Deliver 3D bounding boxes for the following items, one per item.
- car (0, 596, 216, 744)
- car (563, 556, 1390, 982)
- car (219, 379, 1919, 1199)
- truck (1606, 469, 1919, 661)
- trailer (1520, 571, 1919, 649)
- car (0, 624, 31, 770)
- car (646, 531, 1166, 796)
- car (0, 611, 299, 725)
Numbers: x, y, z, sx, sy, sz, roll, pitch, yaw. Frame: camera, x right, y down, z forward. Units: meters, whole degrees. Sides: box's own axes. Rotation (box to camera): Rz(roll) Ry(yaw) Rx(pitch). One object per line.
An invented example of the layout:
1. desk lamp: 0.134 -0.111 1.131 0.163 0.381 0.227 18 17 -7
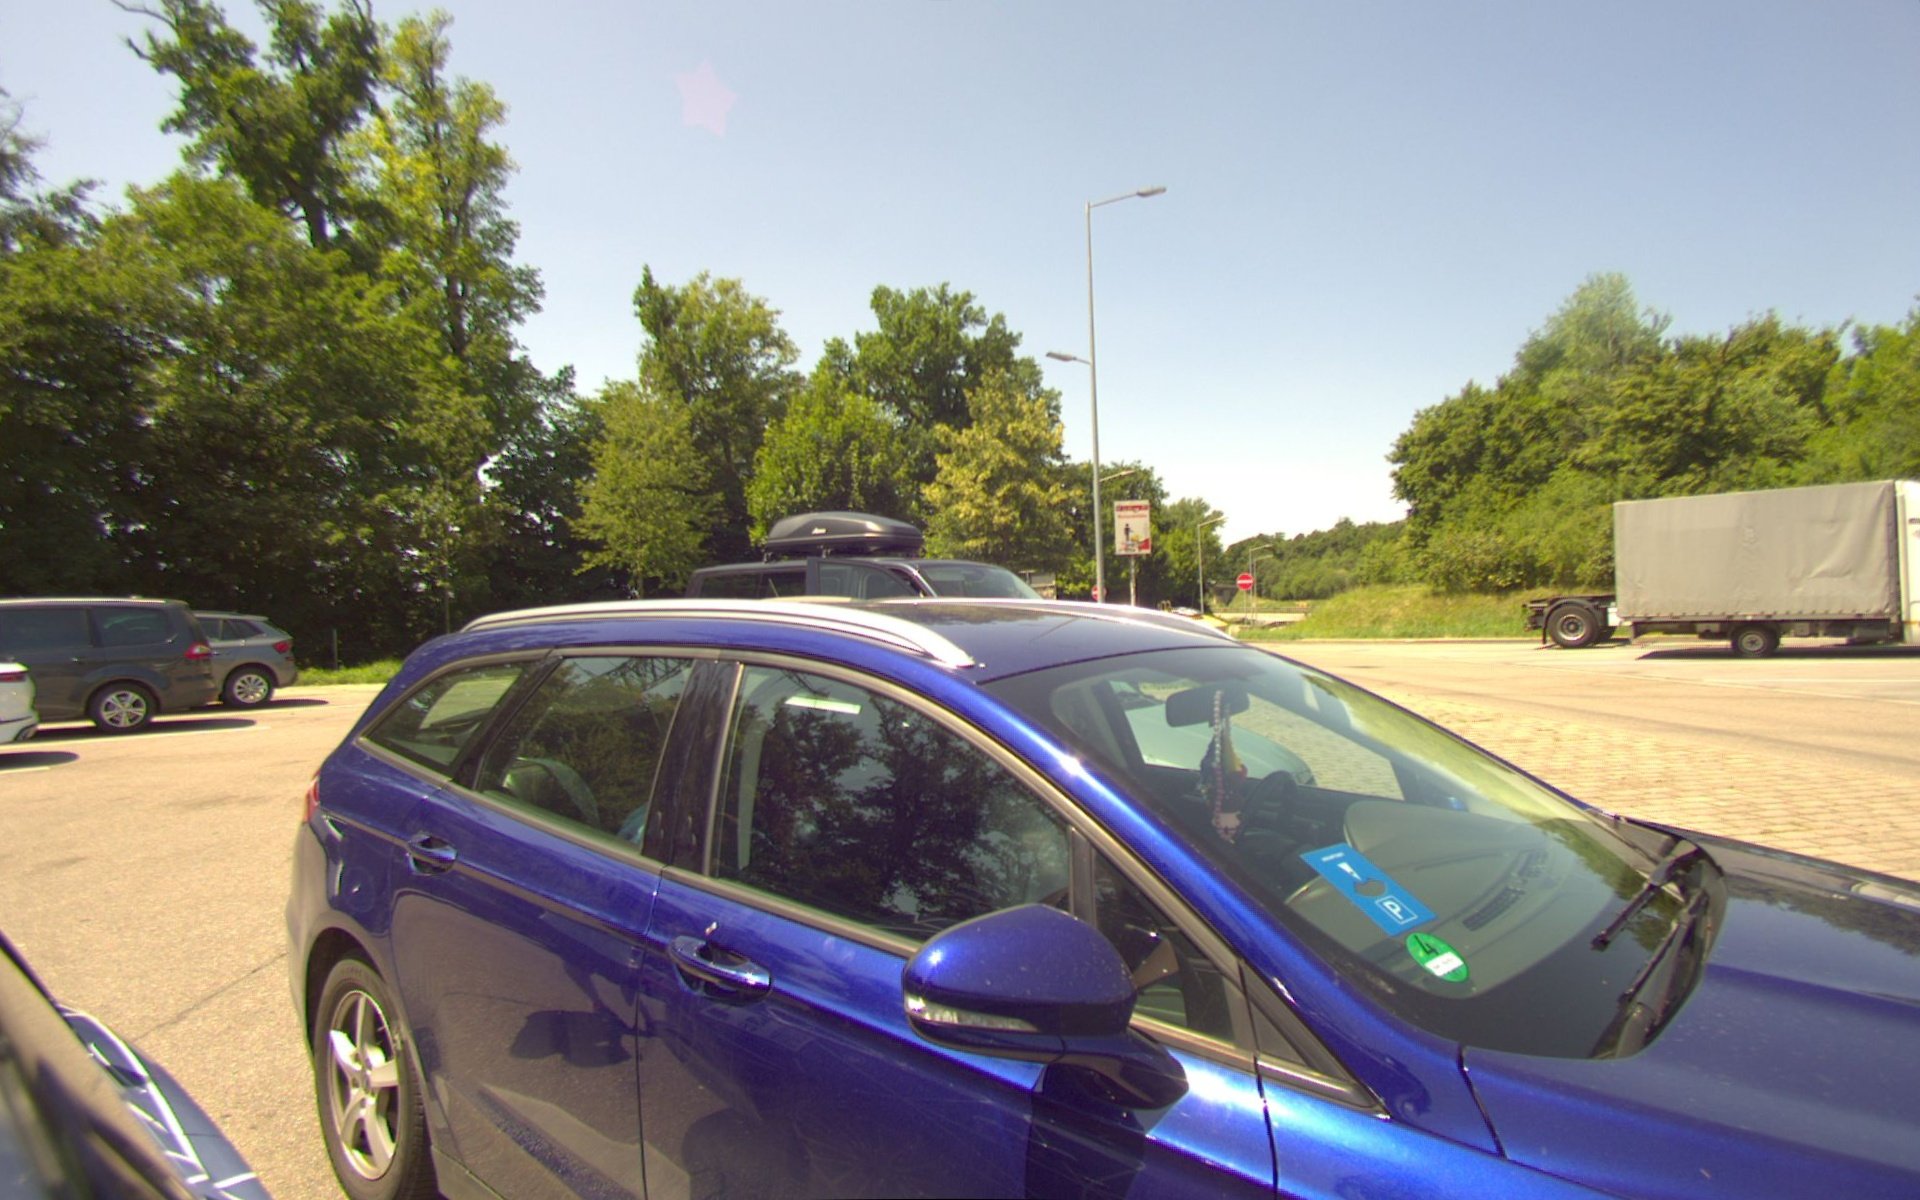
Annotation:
1. car: -11.661 0.836 12.650 3.762 1.737 1.724 0 -1 -38
2. car: -0.222 0.673 5.811 4.637 1.545 1.720 -3 0 39
3. car: 0.239 0.637 2.099 4.637 1.493 1.720 -3 -1 39
4. truck: 16.700 -0.630 18.956 7.337 3.235 2.502 -4 -1 41
5. trailer: 17.630 0.279 23.178 8.088 1.385 2.200 -4 -1 41
6. car: -11.003 0.947 9.186 3.767 1.396 1.722 0 -1 -43
7. car: -0.666 0.511 9.384 4.635 1.884 1.937 -3 0 37
8. car: -12.599 0.969 15.731 3.762 1.551 1.724 0 -1 -38
